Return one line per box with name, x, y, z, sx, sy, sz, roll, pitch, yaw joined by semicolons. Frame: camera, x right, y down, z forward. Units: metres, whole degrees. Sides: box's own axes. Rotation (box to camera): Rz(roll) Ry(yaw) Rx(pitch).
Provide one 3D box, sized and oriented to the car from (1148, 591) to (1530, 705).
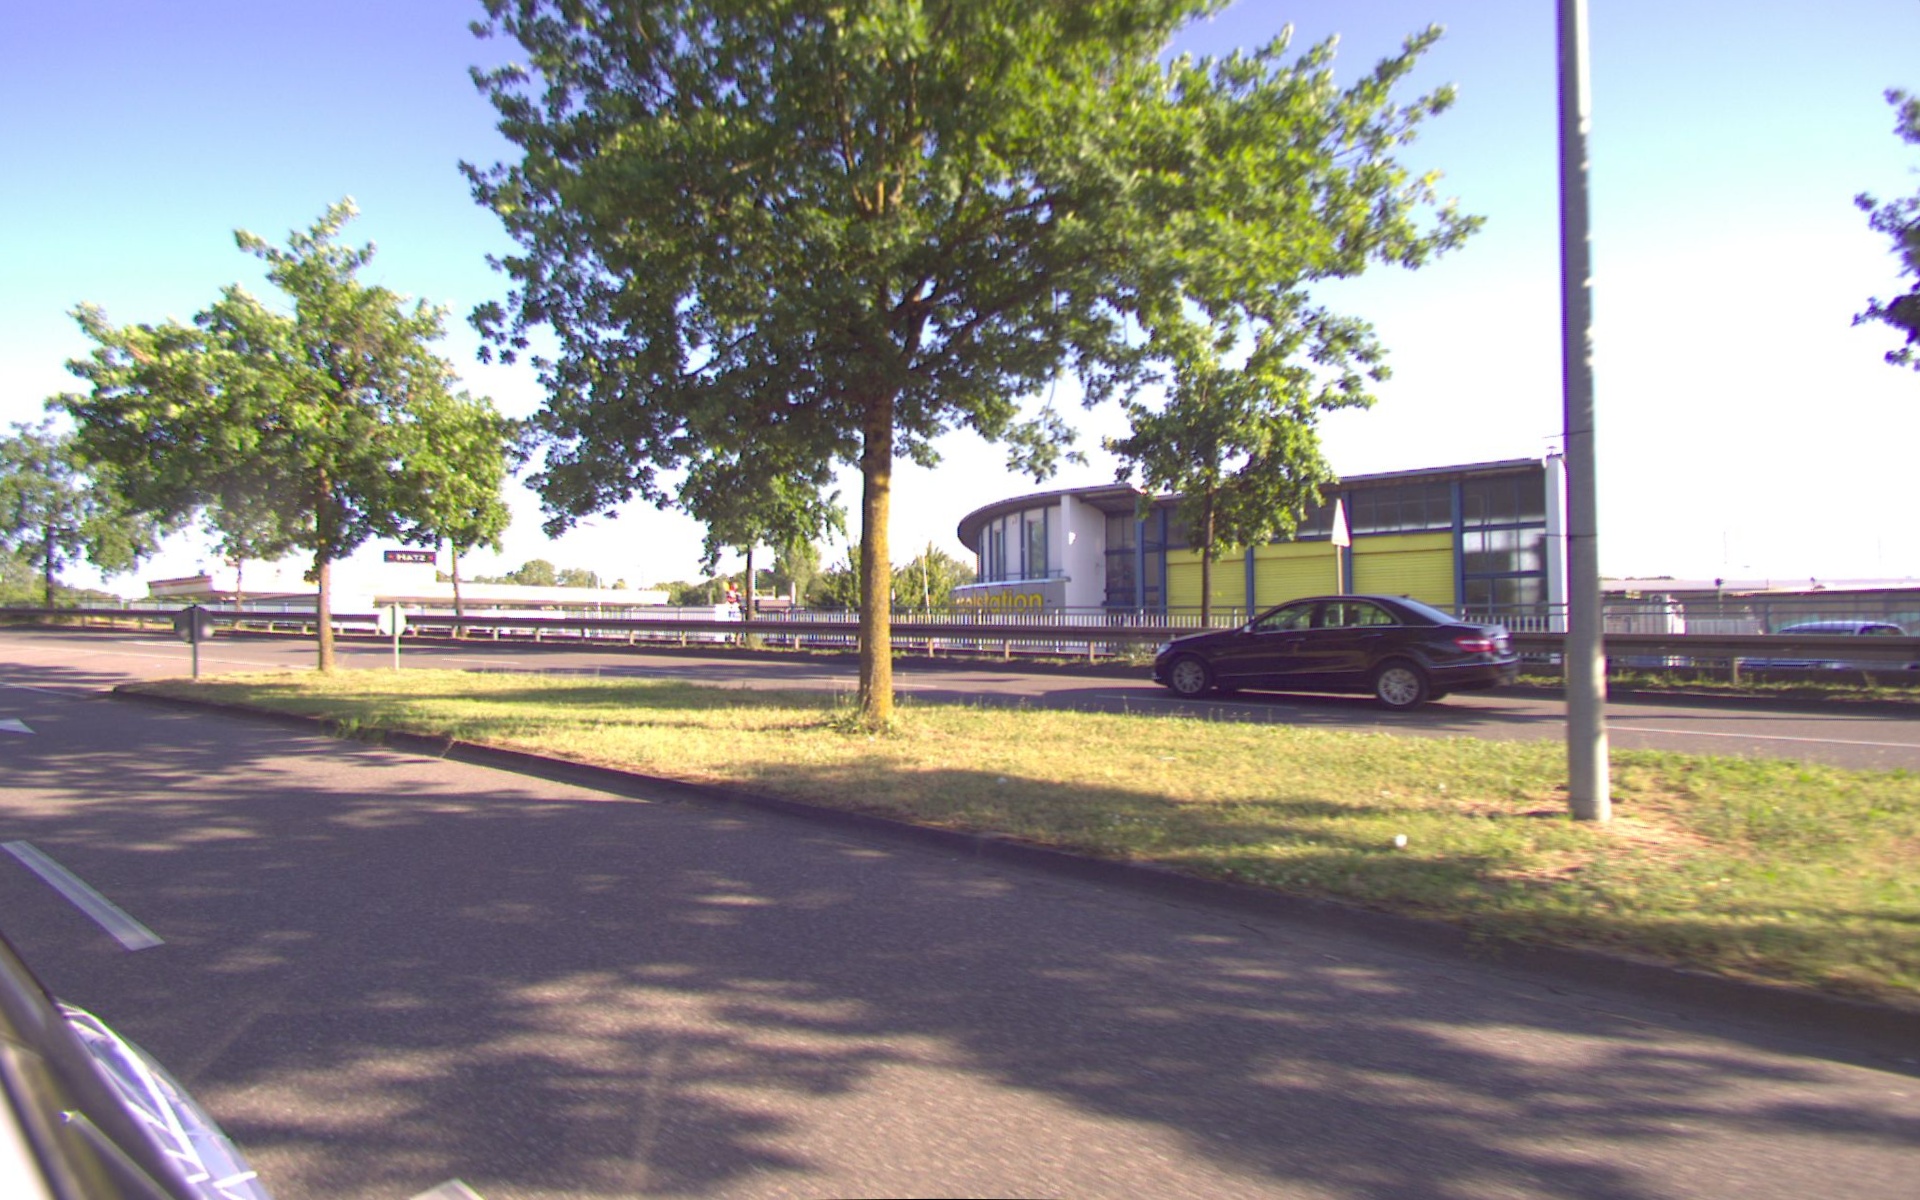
car;5.076;0.576;13.922;4.609;1.320;1.782;-1;0;38
